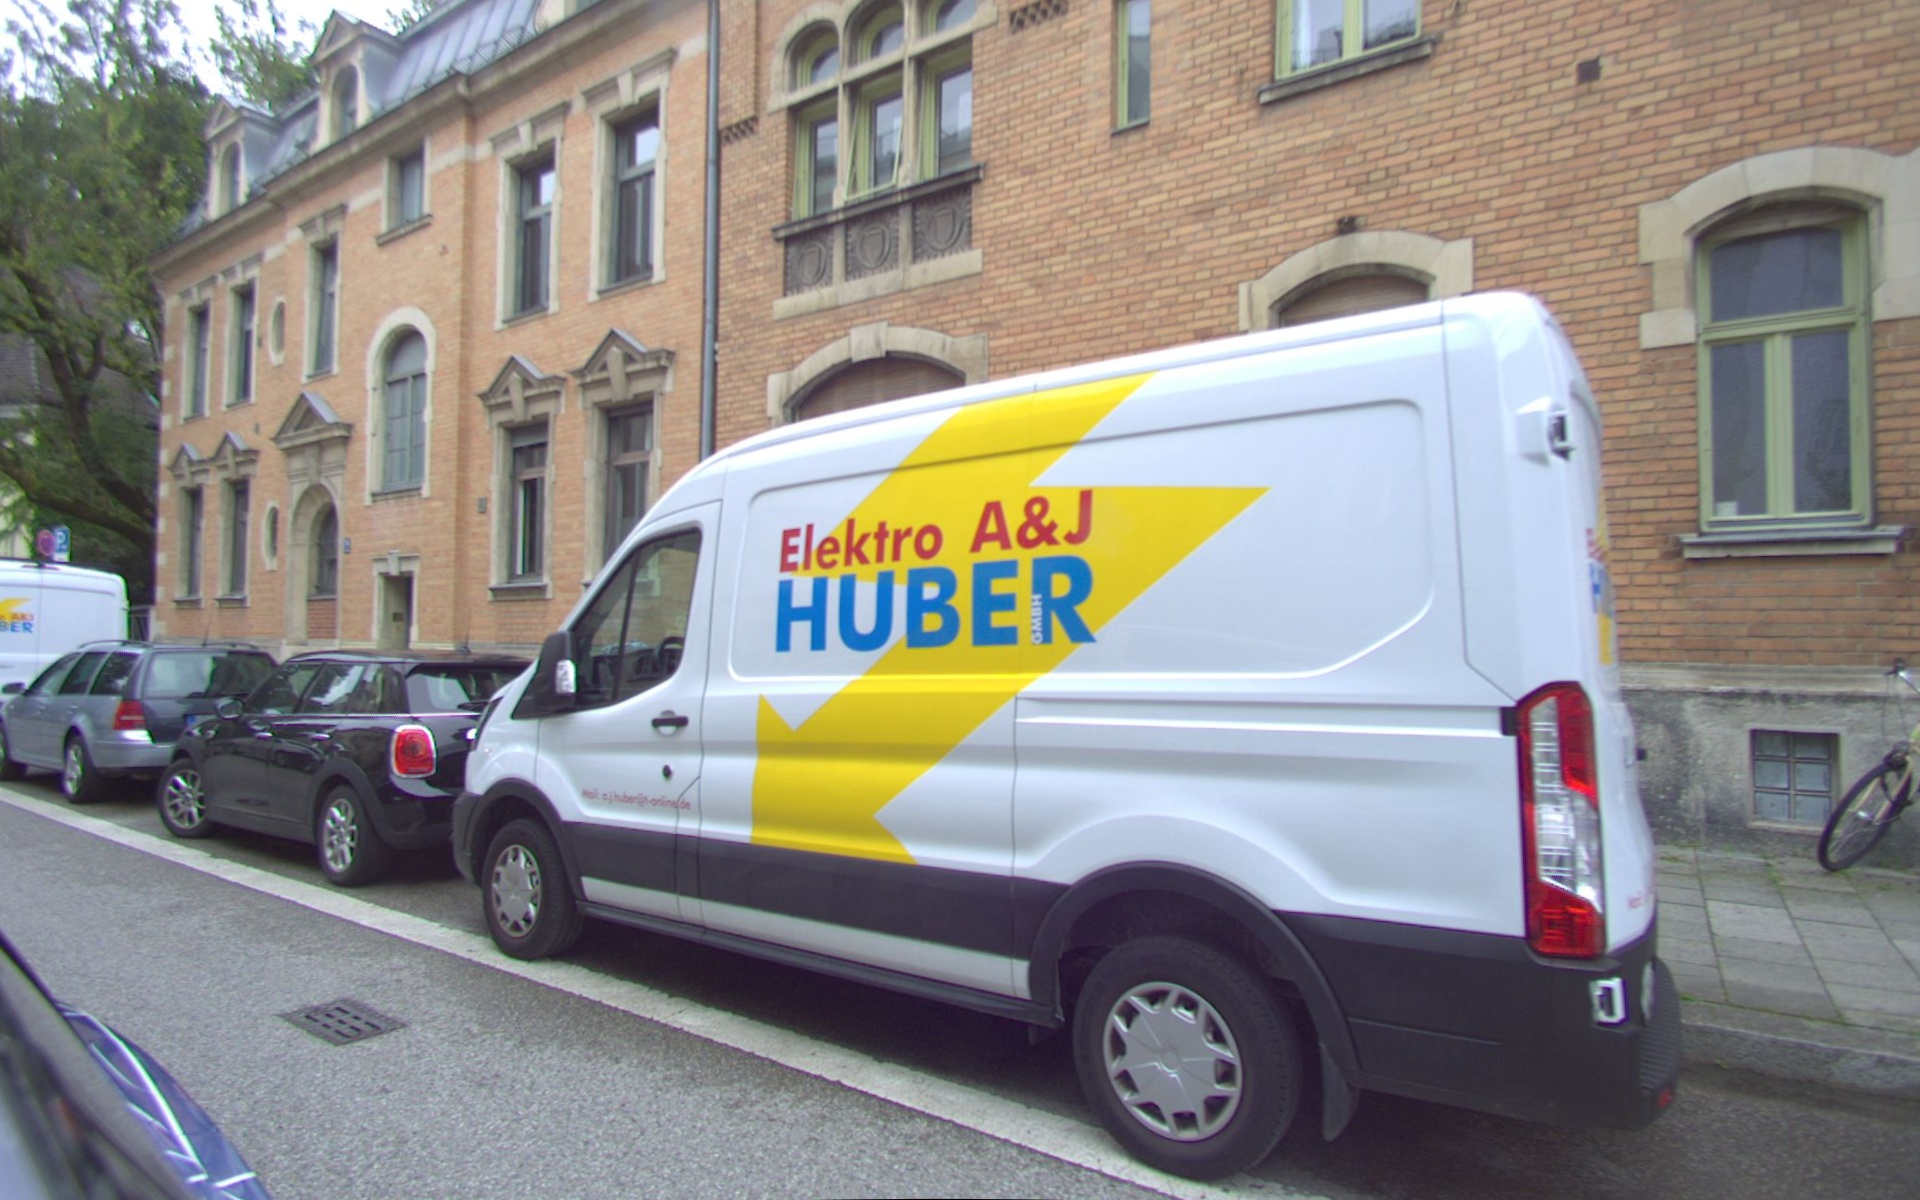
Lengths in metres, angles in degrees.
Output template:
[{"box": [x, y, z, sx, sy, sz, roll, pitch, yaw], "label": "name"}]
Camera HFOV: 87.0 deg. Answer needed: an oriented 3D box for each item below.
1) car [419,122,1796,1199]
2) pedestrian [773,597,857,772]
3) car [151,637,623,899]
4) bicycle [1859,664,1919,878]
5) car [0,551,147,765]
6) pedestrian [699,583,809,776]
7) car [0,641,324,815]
[{"box": [0.051, 0.381, 4.311, 5.211, 2.497, 1.964, -1, -4, 35], "label": "car"}, {"box": [-1.412, 0.814, 9.896, 0.466, 1.645, 0.627, -1, -5, 35], "label": "pedestrian"}, {"box": [-4.208, 1.028, 7.300, 3.531, 1.454, 1.510, -2, -5, 34], "label": "car"}, {"box": [5.978, 0.922, 5.286, 1.824, 1.137, 0.625, -2, -3, 36], "label": "bicycle"}, {"box": [-13.170, 0.786, 13.694, 4.411, 2.560, 2.095, -2, -6, 35], "label": "car"}, {"box": [-1.841, 0.698, 9.066, 0.673, 1.645, 0.627, -1, -5, 35], "label": "pedestrian"}, {"box": [-8.373, 1.176, 10.337, 3.974, 1.454, 1.676, -2, -5, 34], "label": "car"}]
